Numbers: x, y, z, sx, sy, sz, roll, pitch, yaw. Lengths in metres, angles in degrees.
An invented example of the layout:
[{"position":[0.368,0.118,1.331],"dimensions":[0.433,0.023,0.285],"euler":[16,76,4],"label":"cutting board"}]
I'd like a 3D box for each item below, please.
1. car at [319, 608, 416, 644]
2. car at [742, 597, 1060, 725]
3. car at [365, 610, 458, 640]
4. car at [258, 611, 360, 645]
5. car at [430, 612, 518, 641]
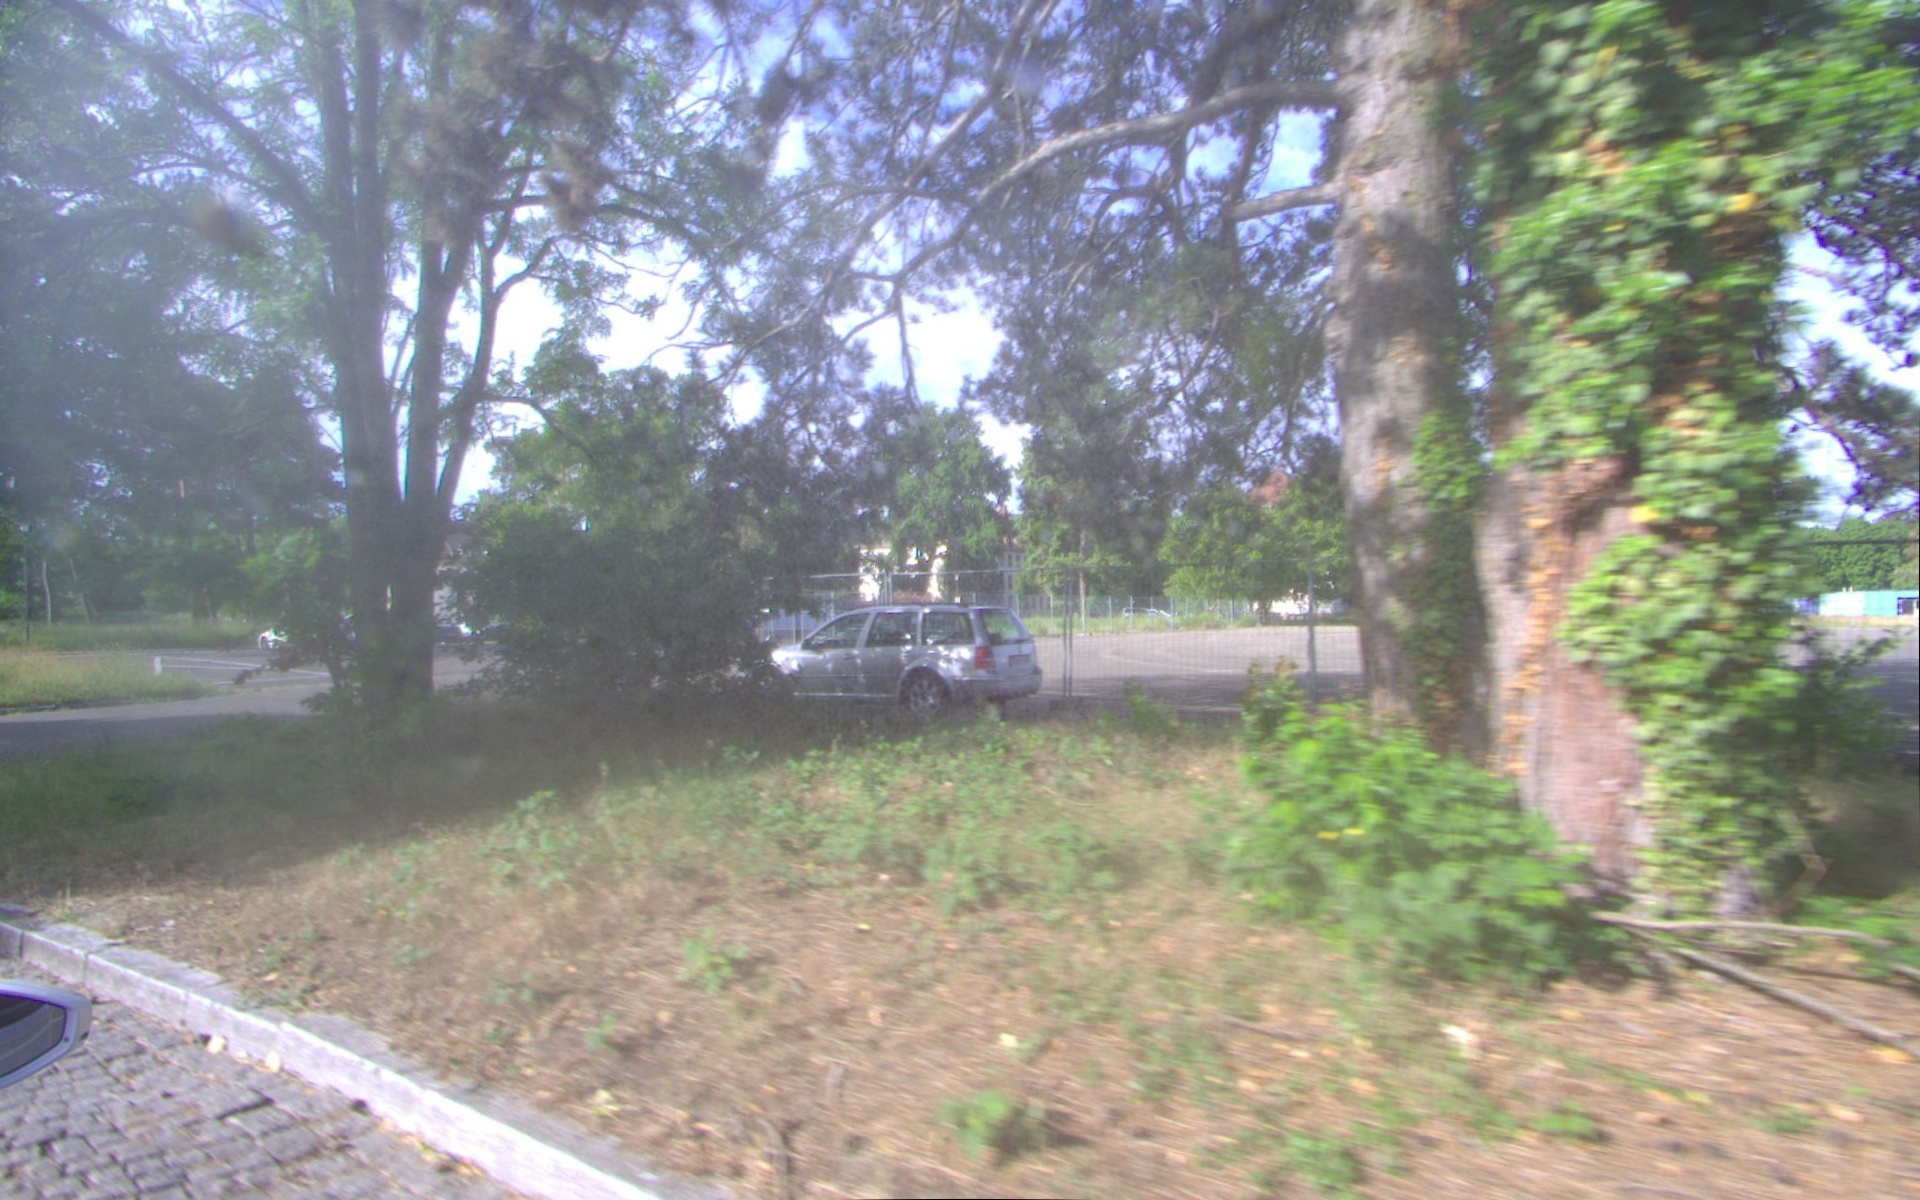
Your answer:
[{"position":[-25.943,1.116,43.816],"dimensions":[4.265,1.496,1.729],"euler":[-1,0,29],"label":"car"},{"position":[-0.815,0.726,13.251],"dimensions":[3.938,1.487,1.666],"euler":[0,0,28],"label":"car"},{"position":[-25.128,1.118,45.847],"dimensions":[4.265,1.329,1.729],"euler":[-1,0,29],"label":"car"},{"position":[-27.001,1.127,41.506],"dimensions":[4.265,1.329,1.729],"euler":[0,0,29],"label":"car"},{"position":[-23.639,1.253,48.688],"dimensions":[4.265,1.329,1.729],"euler":[0,0,29],"label":"car"}]
